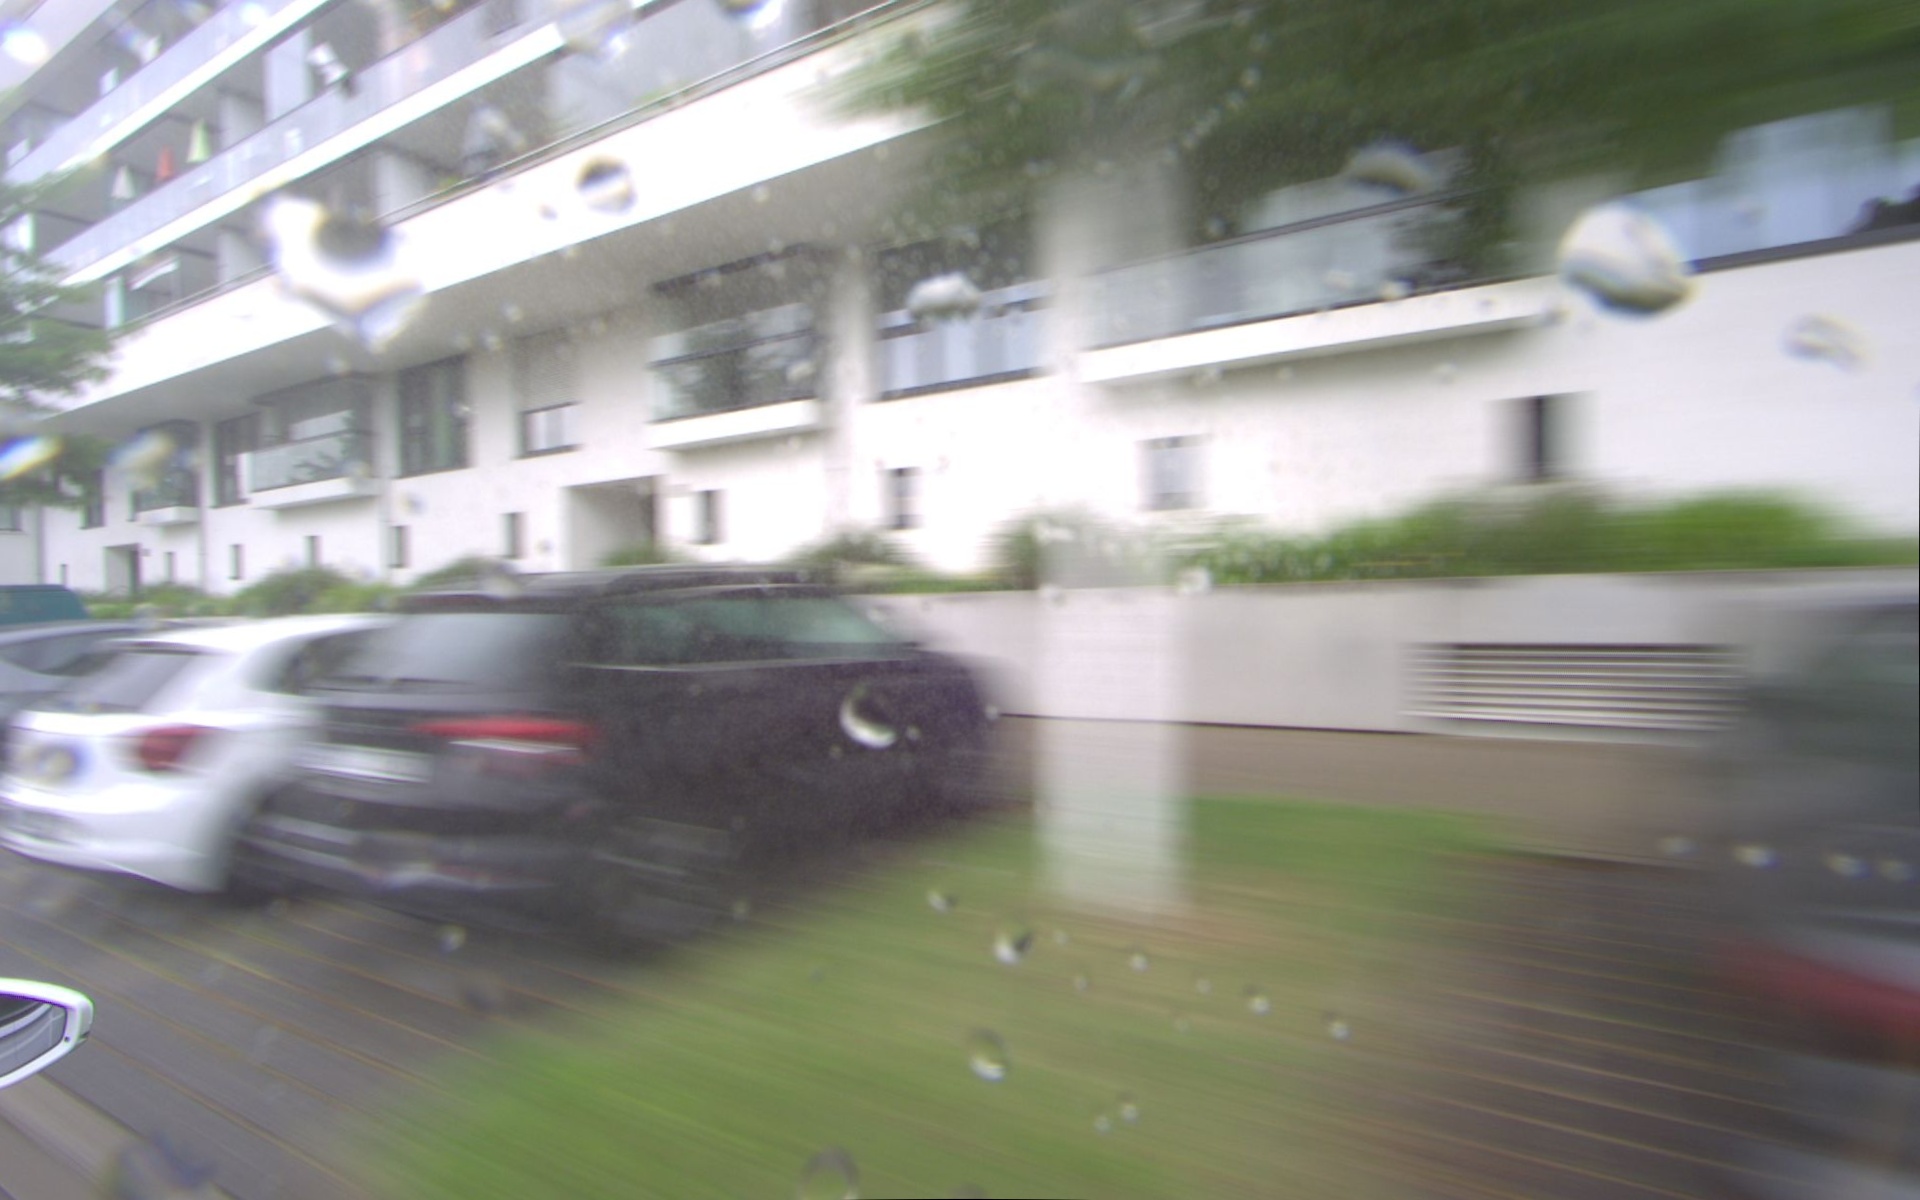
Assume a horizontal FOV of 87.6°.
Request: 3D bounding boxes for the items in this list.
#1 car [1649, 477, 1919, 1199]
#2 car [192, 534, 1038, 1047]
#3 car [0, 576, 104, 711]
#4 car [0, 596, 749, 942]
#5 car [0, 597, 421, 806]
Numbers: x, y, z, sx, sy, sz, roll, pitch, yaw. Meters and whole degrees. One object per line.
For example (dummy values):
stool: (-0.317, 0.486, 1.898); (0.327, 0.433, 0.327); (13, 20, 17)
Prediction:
car: (2.820, 0.580, 2.442); (1.660, 1.530, 3.978); (0, 1, 32)
car: (-1.313, 0.597, 5.478); (1.869, 1.646, 4.155); (-1, 1, 30)
car: (-15.907, 0.674, 14.788); (1.829, 2.046, 4.615); (-1, -1, 28)
car: (-3.486, 0.754, 6.642); (1.613, 1.447, 4.291); (-1, 0, 30)
car: (-7.307, 0.788, 9.063); (1.607, 1.519, 4.024); (-1, 1, 29)
